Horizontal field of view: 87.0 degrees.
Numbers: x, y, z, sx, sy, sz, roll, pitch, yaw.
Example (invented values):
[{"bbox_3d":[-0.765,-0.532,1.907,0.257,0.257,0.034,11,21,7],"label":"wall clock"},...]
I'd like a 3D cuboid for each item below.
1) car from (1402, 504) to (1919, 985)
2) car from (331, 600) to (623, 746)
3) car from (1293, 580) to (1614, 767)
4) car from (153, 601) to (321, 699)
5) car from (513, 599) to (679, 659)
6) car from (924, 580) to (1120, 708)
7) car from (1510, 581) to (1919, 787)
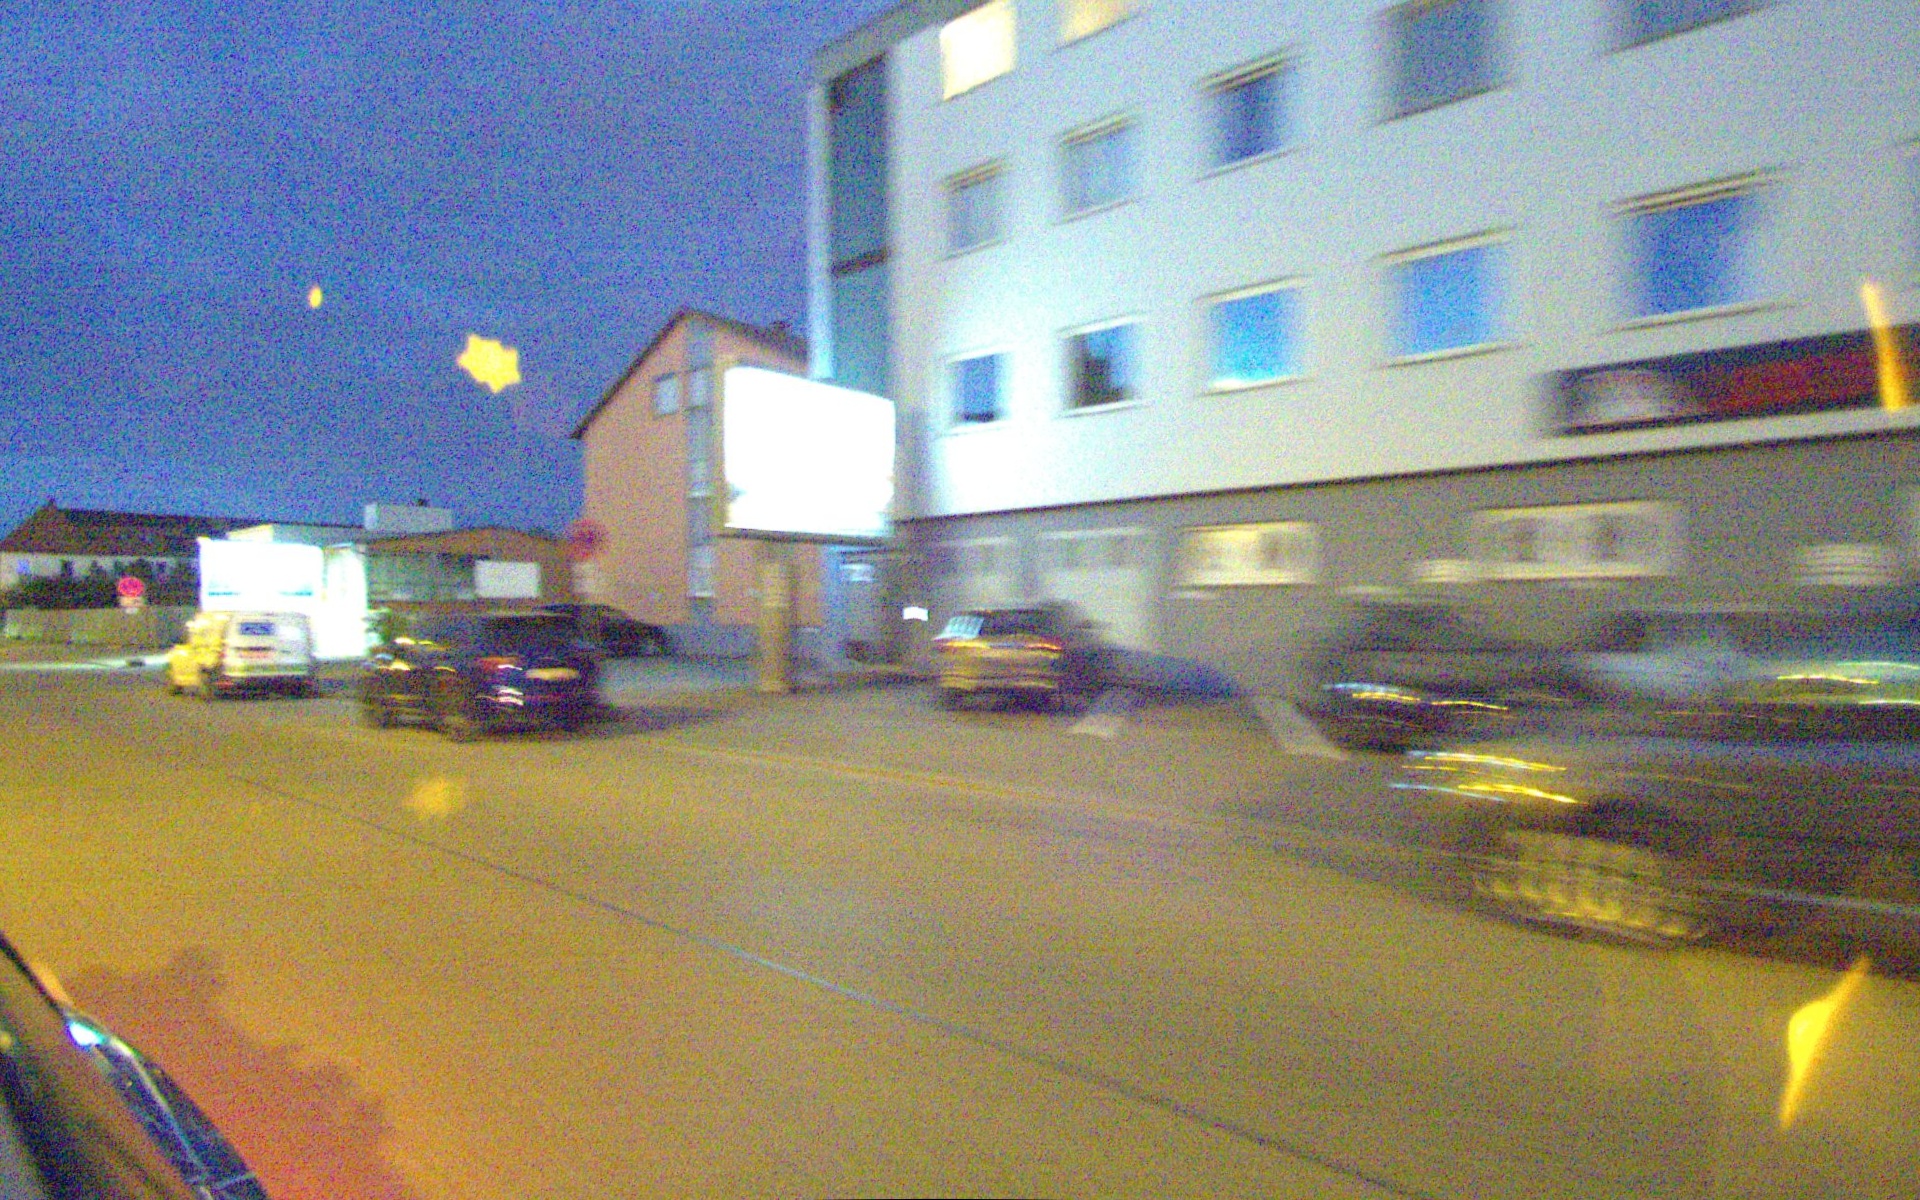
[{"bbox_3d":[4.517,0.562,4.431,4.411,1.863,1.795,-1,-1,40],"label":"car"},{"bbox_3d":[-6.826,0.901,14.058,4.813,1.701,1.927,-2,-1,41],"label":"car"},{"bbox_3d":[4.942,0.654,10.945,1.979,1.563,4.655,0,-1,11],"label":"car"},{"bbox_3d":[-15.097,0.975,21.021,4.875,1.812,1.785,-2,-2,41],"label":"car"},{"bbox_3d":[-10.893,0.831,30.499,1.922,1.666,4.352,-2,-1,43],"label":"car"},{"bbox_3d":[1.090,0.582,14.885,1.982,1.572,4.391,-1,-1,16],"label":"car"},{"bbox_3d":[6.822,0.627,9.390,1.775,1.451,4.398,0,-1,11],"label":"car"}]
